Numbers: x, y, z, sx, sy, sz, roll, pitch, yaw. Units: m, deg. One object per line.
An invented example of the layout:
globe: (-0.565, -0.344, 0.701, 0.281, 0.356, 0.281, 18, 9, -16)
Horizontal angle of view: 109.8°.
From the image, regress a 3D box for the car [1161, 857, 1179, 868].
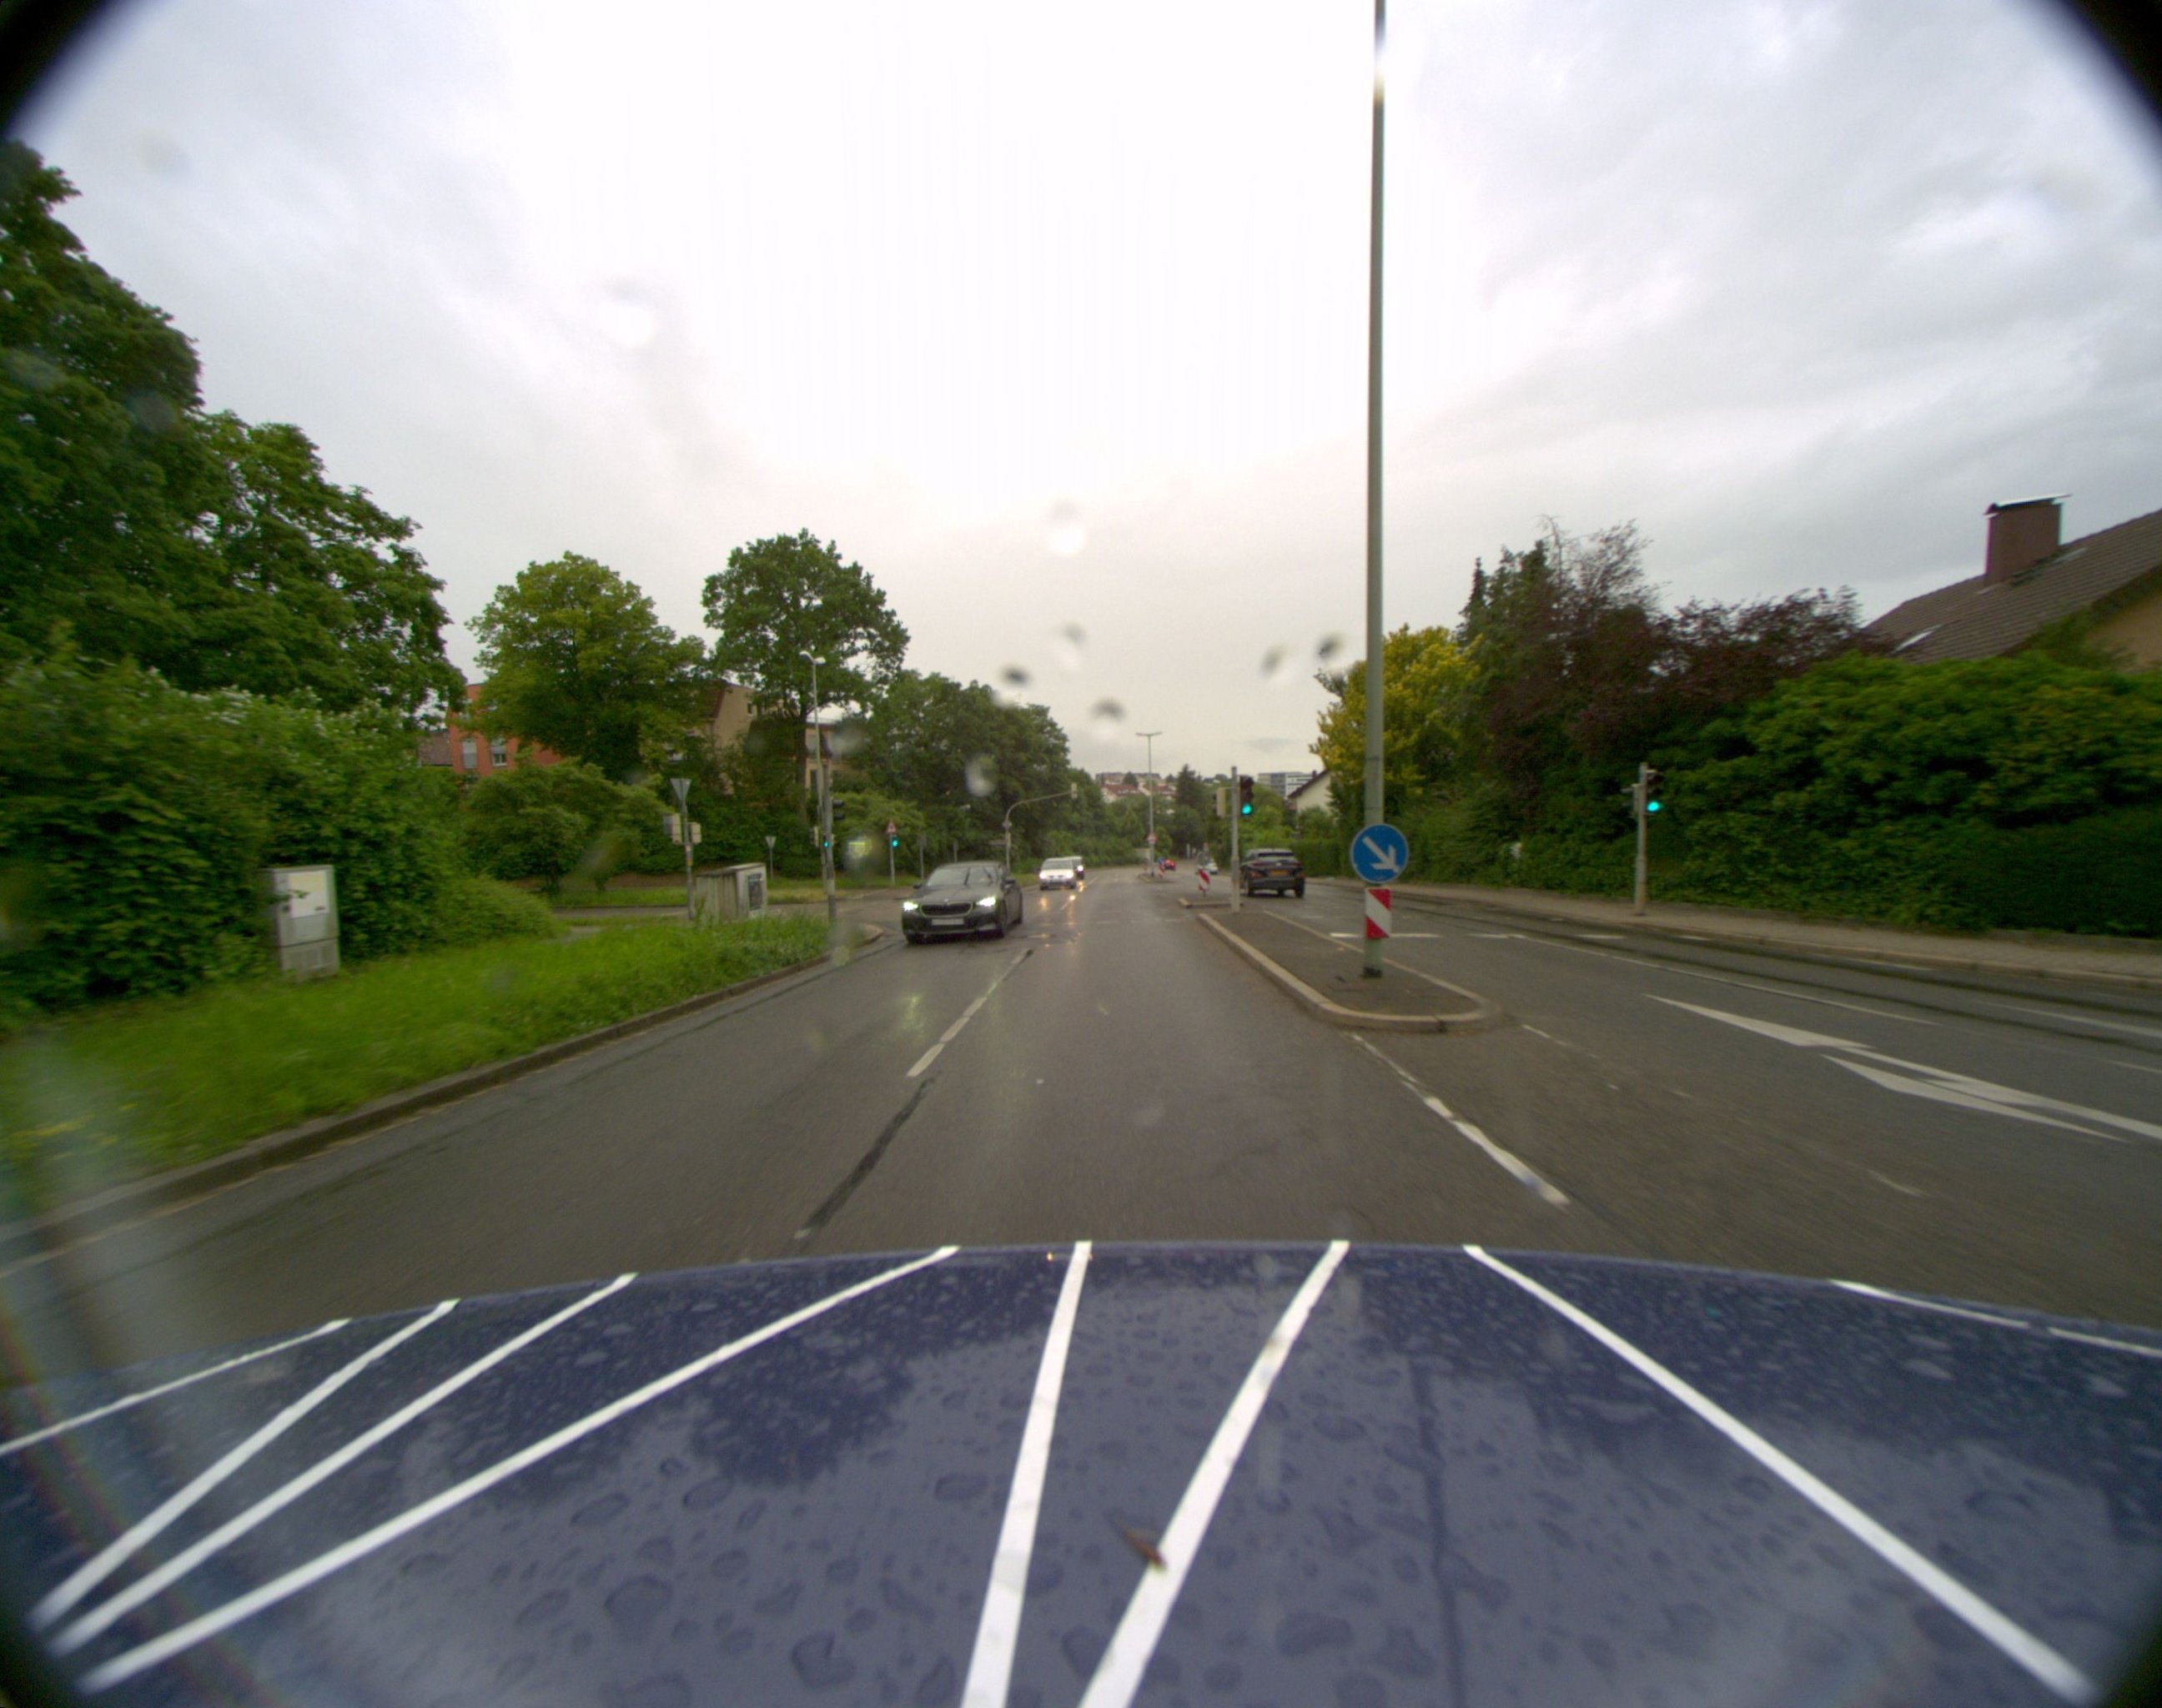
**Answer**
car: (12.713, 1.186, 108.124, 1.865, 1.484, 3.839, -1, 0, 17)

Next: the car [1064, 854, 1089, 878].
car: (-0.309, 0.882, 59.950, 1.814, 1.797, 4.119, 0, 0, 1)

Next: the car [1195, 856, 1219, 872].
car: (11.676, 0.910, 70.611, 1.731, 1.476, 4.157, 0, 0, 3)

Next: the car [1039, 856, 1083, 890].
car: (-0.944, 0.920, 37.836, 1.814, 1.546, 4.120, 0, 0, 4)

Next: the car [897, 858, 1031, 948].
car: (-2.252, 0.897, 15.766, 1.867, 1.547, 4.120, 0, 1, 4)

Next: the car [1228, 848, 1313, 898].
car: (6.175, 0.569, 25.215, 2.030, 1.554, 3.877, 0, 1, 3)
